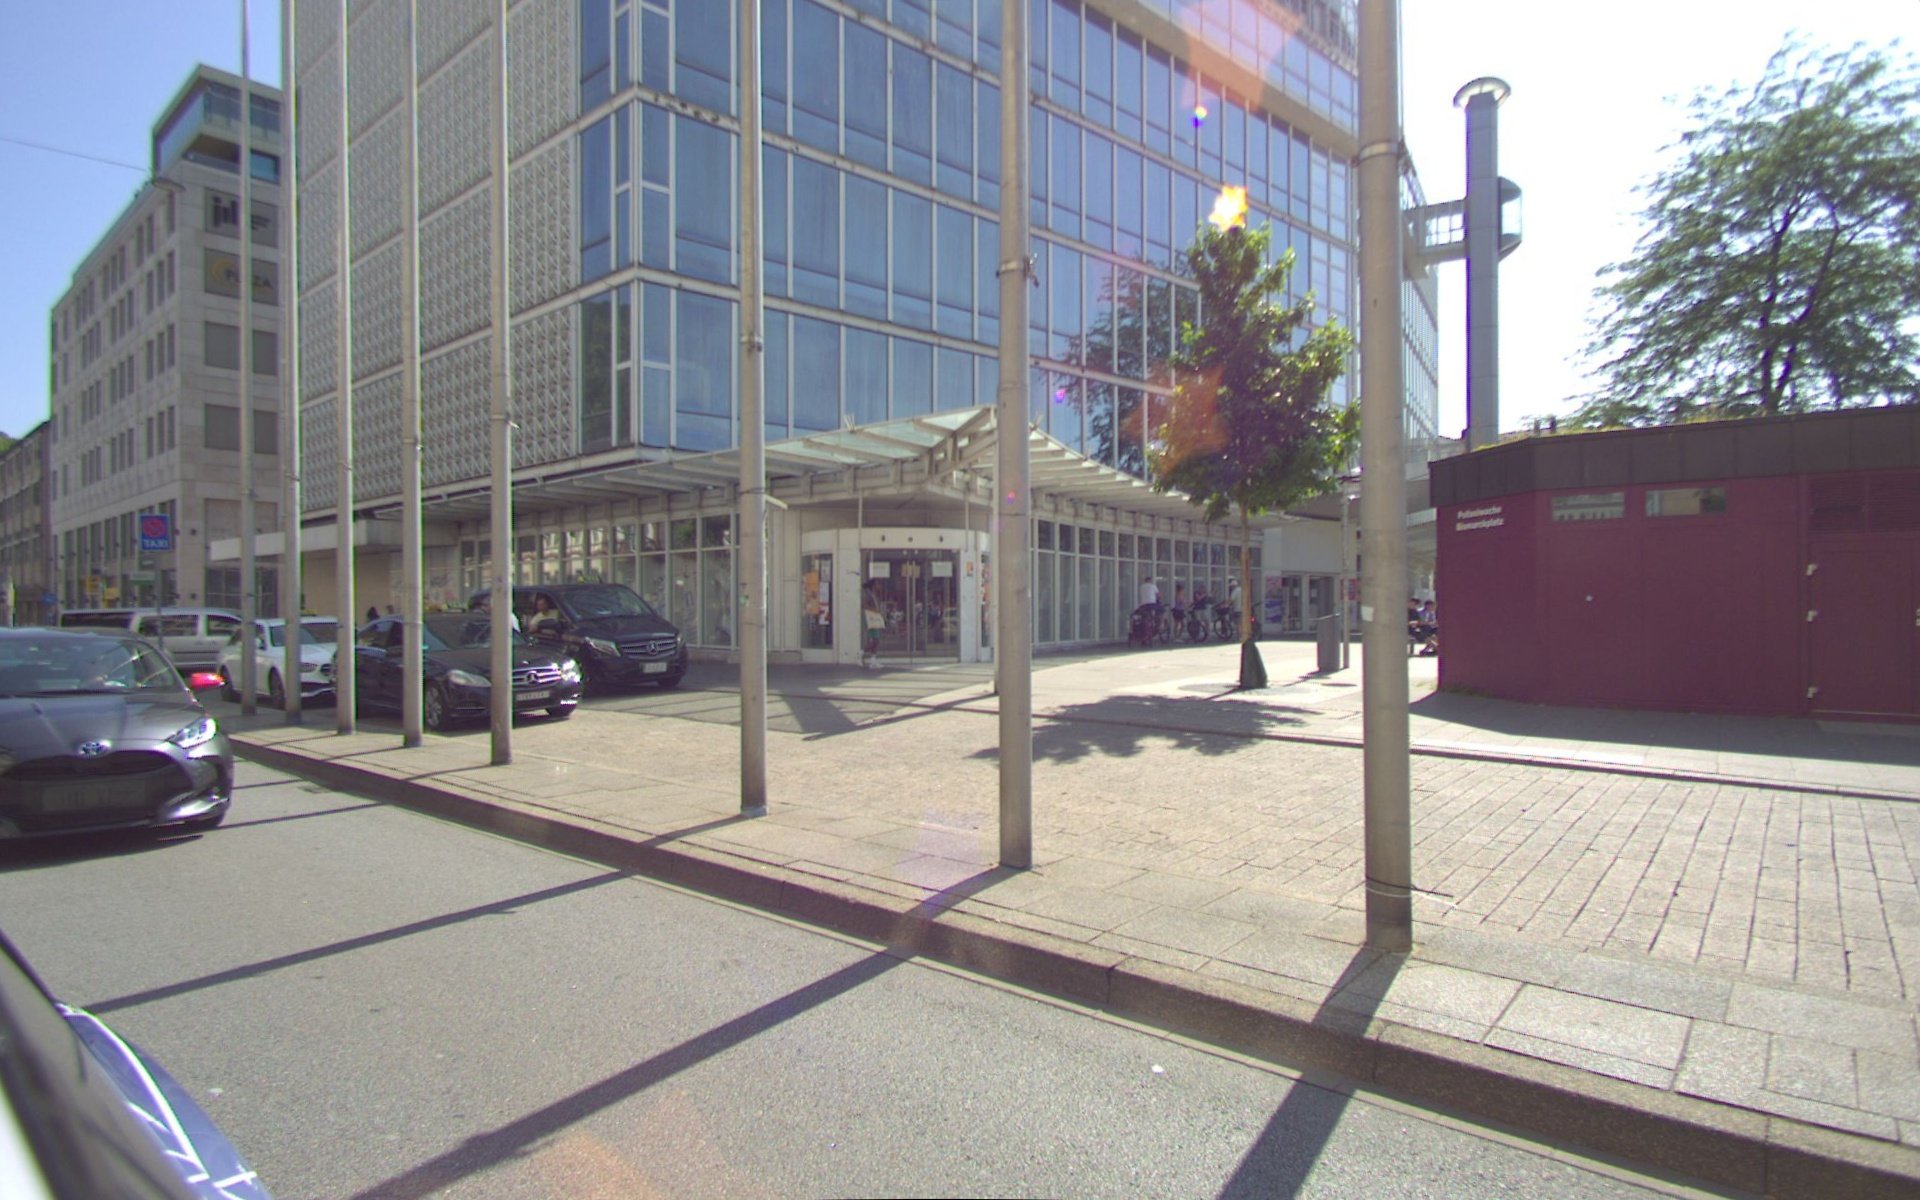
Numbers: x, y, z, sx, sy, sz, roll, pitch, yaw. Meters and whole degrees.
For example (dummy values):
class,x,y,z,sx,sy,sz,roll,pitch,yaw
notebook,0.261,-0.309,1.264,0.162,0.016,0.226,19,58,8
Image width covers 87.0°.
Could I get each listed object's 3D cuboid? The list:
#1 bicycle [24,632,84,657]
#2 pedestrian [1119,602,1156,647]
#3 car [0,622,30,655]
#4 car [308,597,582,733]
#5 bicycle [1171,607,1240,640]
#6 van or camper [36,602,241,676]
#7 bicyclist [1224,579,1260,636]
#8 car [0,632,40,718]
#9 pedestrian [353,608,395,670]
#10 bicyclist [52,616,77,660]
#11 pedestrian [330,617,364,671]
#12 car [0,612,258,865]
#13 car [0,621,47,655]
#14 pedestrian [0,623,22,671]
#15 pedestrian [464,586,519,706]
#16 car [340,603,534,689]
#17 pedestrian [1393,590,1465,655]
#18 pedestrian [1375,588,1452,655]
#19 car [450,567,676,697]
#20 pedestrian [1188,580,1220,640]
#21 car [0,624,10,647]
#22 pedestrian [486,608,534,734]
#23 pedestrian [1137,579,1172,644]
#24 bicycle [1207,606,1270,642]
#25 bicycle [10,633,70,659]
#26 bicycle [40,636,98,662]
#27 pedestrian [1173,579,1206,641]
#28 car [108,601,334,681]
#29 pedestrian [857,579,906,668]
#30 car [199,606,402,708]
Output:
class,x,y,z,sx,sy,sz,roll,pitch,yaw
bicycle,-43.269,2.117,48.371,2.028,1.135,0.649,-1,-1,-23
pedestrian,4.678,0.634,26.674,0.651,1.155,0.768,-1,0,38
car,-53.825,2.229,55.424,4.107,1.649,2.105,-5,3,-41
car,-7.354,0.822,14.211,4.706,1.612,1.743,-2,-1,40
bicycle,7.366,0.712,30.367,1.930,0.973,0.568,-1,0,31
van or camper,-25.727,1.189,31.867,4.585,2.029,2.004,-2,0,-10
bicyclist,8.179,0.225,29.397,0.835,1.622,0.651,-1,0,-45
car,-18.017,1.322,18.336,4.107,1.407,1.710,-1,-1,44
pedestrian,-16.675,1.096,28.812,0.640,1.673,0.780,0,3,38
bicyclist,-40.646,1.700,45.936,0.832,1.975,1.018,0,-1,-43
pedestrian,-17.135,1.209,28.294,0.640,1.447,0.587,0,3,38
car,-6.938,0.909,7.633,4.106,1.489,1.843,-3,-4,43
car,-51.102,2.061,53.371,3.965,1.614,1.965,-3,2,-27
pedestrian,-32.149,1.593,34.068,0.678,1.571,0.635,-2,0,29
pedestrian,-7.277,0.700,15.741,0.610,1.806,0.694,-1,-1,-10
car,-11.311,0.932,21.806,4.392,1.622,1.976,-1,0,37
pedestrian,10.394,0.490,22.439,1.259,1.396,0.845,-1,0,41
pedestrian,9.776,0.459,21.804,1.309,1.396,0.845,-1,0,41
car,-7.166,0.546,18.017,4.683,2.029,1.813,-2,-1,41
pedestrian,7.319,0.314,30.394,0.775,1.778,0.562,-1,0,31
car,-64.190,2.525,64.833,4.425,1.443,1.869,-6,3,-30
pedestrian,-6.647,1.033,14.966,0.524,1.806,0.540,-1,-1,-10
pedestrian,5.413,0.315,28.174,0.651,1.778,0.768,-1,0,38
bicycle,8.079,0.680,29.275,2.399,0.973,0.652,-1,0,-45
bicycle,-42.824,2.140,47.131,2.030,1.178,0.607,0,-1,-12
bicycle,-40.529,2.214,46.046,1.963,1.135,0.800,0,-2,-43
pedestrian,6.661,0.287,29.377,0.651,1.778,0.768,-1,0,38
car,-19.379,1.042,26.751,4.372,1.924,2.014,-1,-1,-13
pedestrian,-1.555,0.469,20.066,0.674,1.728,0.723,1,-2,-40
car,-11.783,0.958,17.945,4.736,1.534,1.780,-2,0,41
